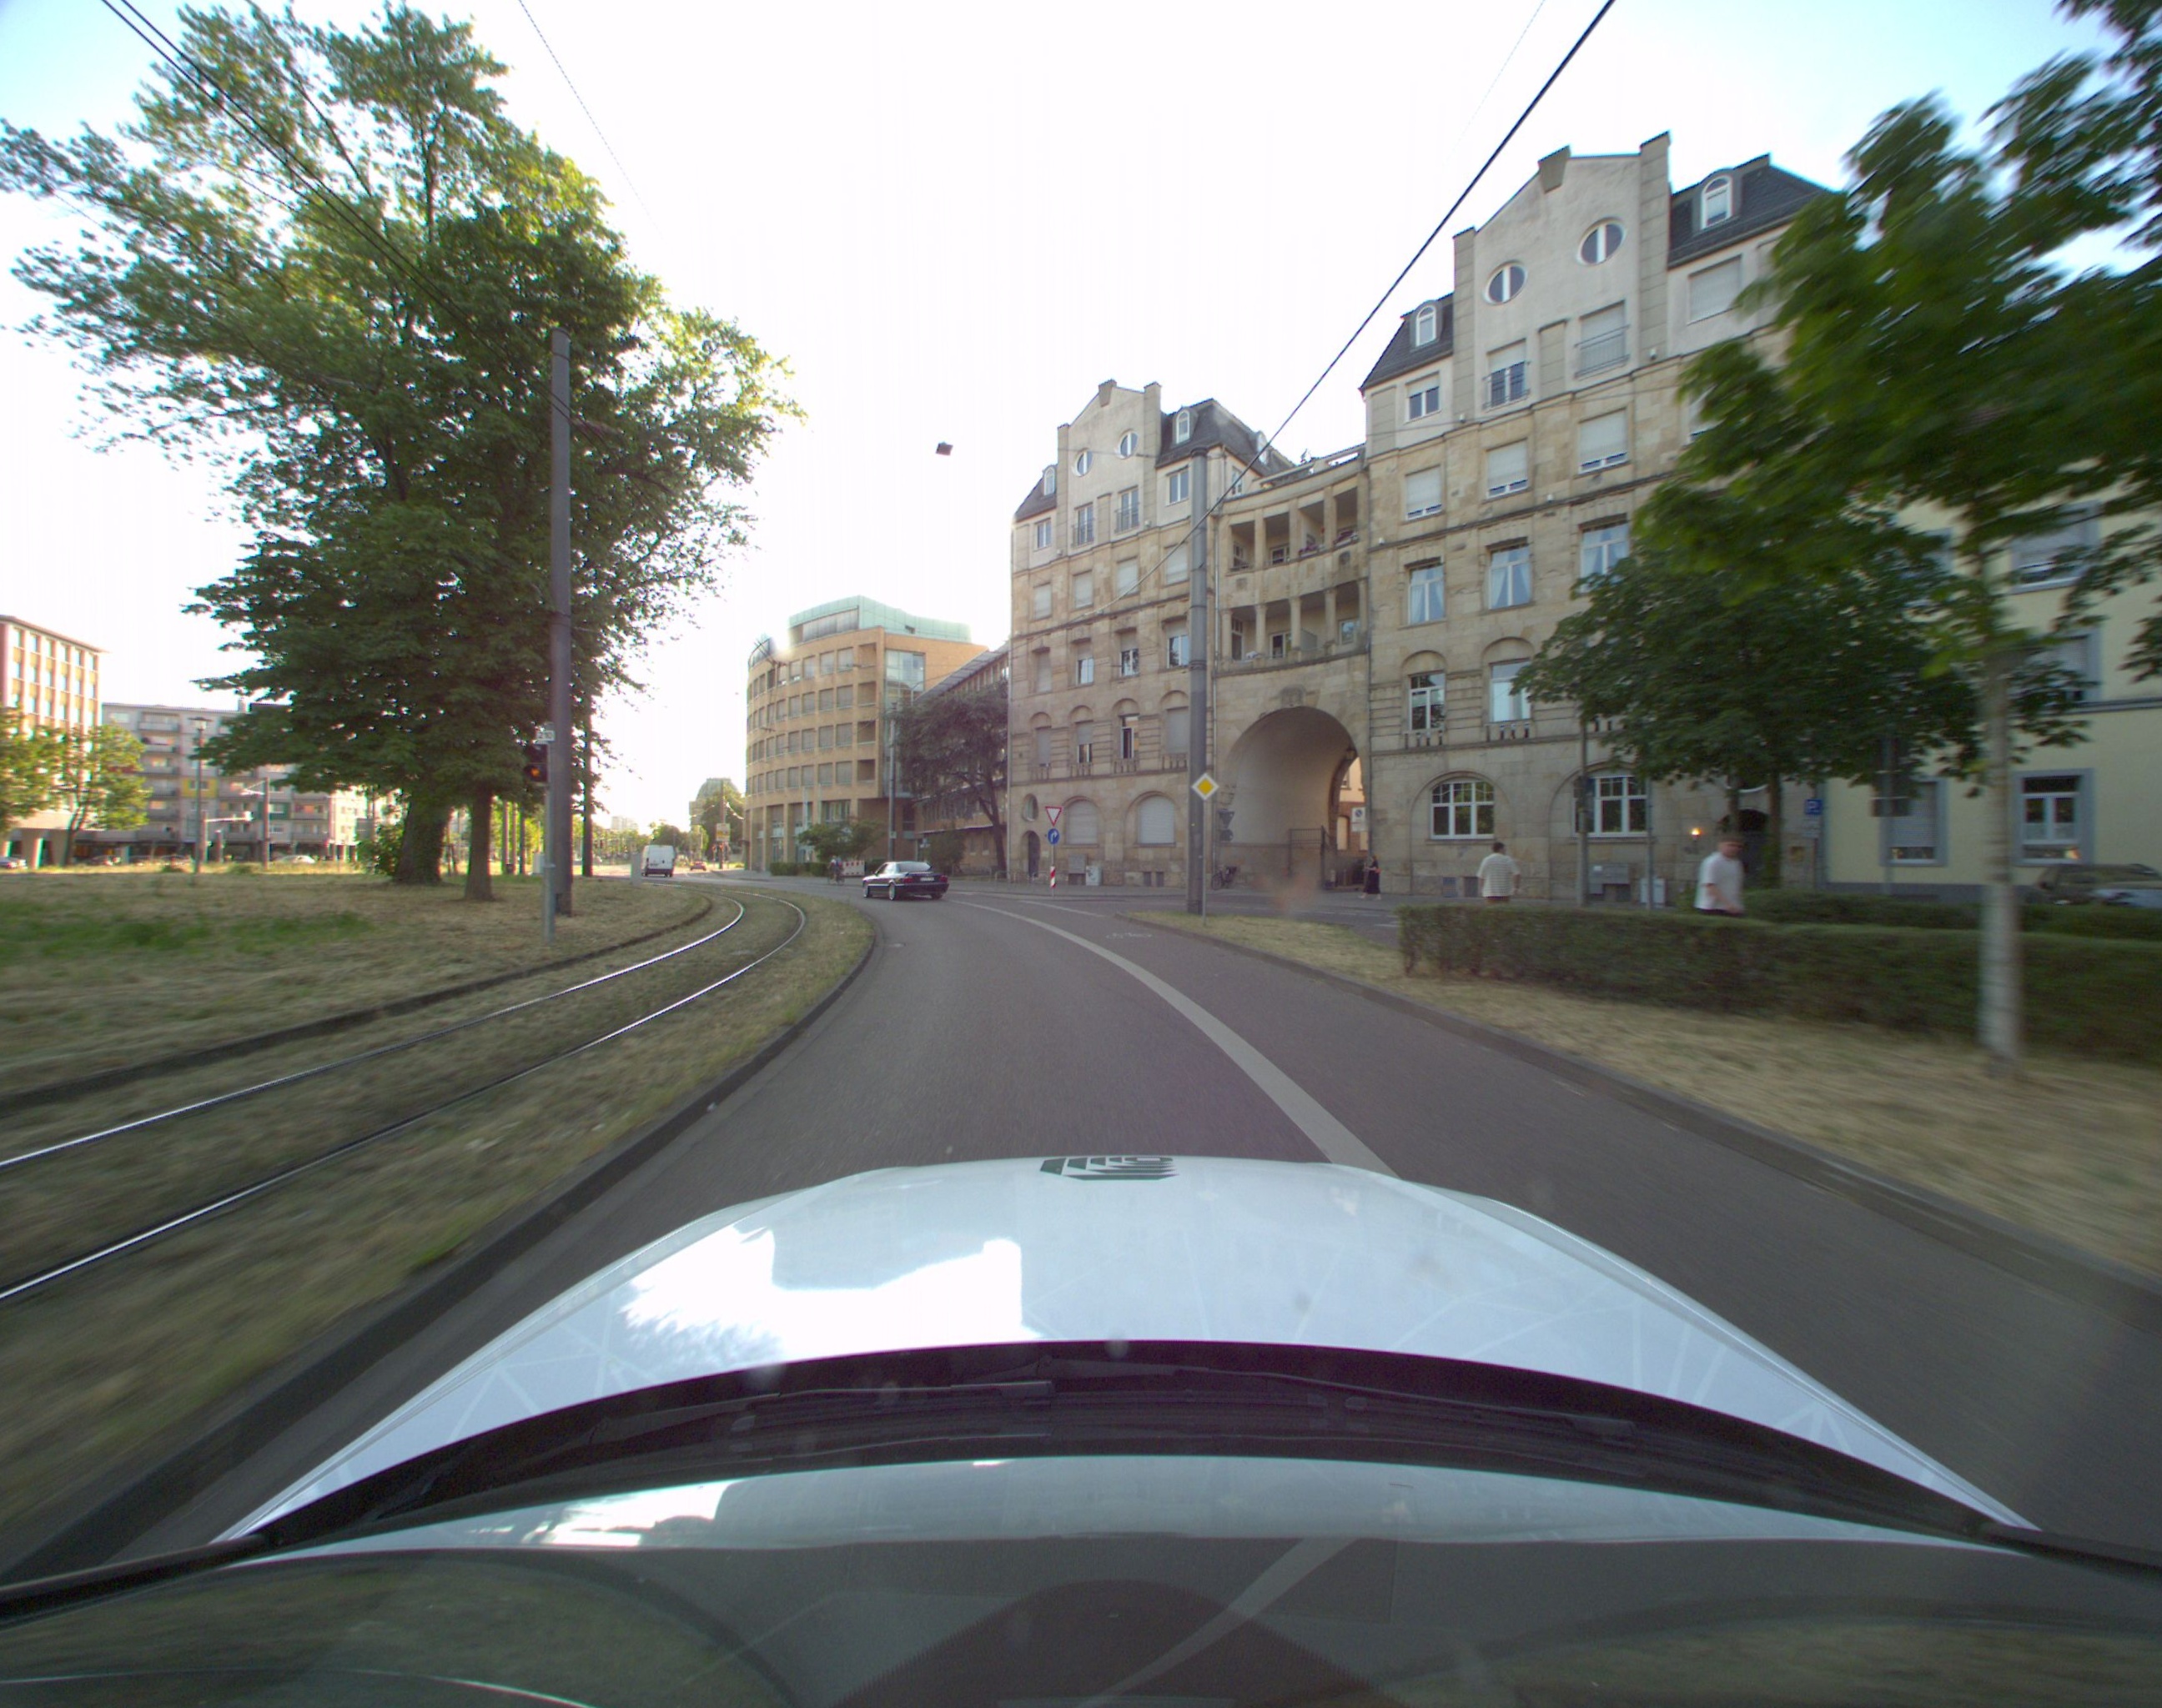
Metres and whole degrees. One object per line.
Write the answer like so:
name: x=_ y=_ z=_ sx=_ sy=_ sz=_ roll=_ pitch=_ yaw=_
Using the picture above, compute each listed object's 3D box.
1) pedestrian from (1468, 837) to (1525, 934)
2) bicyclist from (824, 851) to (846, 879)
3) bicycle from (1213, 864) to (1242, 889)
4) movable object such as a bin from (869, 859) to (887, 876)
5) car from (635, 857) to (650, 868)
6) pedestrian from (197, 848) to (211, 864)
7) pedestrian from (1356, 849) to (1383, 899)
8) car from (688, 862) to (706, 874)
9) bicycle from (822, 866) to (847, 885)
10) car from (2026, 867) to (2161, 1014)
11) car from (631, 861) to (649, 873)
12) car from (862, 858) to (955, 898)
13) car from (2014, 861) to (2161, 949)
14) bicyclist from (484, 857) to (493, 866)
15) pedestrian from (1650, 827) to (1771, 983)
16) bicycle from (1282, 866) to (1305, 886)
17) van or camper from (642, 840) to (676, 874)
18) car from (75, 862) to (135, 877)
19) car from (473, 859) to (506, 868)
pedestrian: x=7.917 y=0.576 z=15.530 sx=0.811 sy=1.792 sz=0.596 roll=1 pitch=0 yaw=45
bicyclist: x=-13.183 y=0.584 z=43.688 sx=1.025 sy=1.484 sz=0.661 roll=0 pitch=-3 yaw=44
bicycle: x=6.630 y=1.006 z=36.815 sx=0.424 sy=1.073 sz=1.867 roll=1 pitch=1 yaw=40
movable object such as a bin: x=-17.744 y=1.163 z=71.179 sx=1.350 sy=1.424 sz=0.914 roll=0 pitch=1 yaw=-34
car: x=-64.960 y=1.213 z=120.518 sx=1.806 sy=1.566 sz=3.961 roll=0 pitch=1 yaw=-31
pedestrian: x=-94.229 y=0.231 z=87.516 sx=0.742 sy=1.669 sz=0.777 roll=0 pitch=0 yaw=-24
pedestrian: x=10.199 y=0.692 z=28.799 sx=0.581 sy=1.709 sz=0.712 roll=0 pitch=0 yaw=-45
car: x=-46.489 y=1.677 z=98.607 sx=1.793 sy=1.354 sz=4.229 roll=2 pitch=0 yaw=-27
bicycle: x=-13.282 y=1.149 z=43.847 sx=0.519 sy=0.955 sz=1.754 roll=3 pitch=-1 yaw=-43
car: x=13.569 y=0.980 z=10.146 sx=4.084 sy=1.556 sz=1.846 roll=0 pitch=1 yaw=-34
car: x=-54.392 y=1.573 z=100.461 sx=1.746 sy=1.386 sz=3.966 roll=0 pitch=1 yaw=-26
car: x=-6.453 y=0.922 z=30.046 sx=1.842 sy=1.354 sz=4.593 roll=2 pitch=-3 yaw=-33
car: x=21.200 y=0.956 z=16.990 sx=1.814 sy=1.558 sz=4.426 roll=1 pitch=1 yaw=43
bicyclist: x=-95.600 y=1.231 z=131.399 sx=0.655 sy=1.442 sz=0.861 roll=2 pitch=-1 yaw=34
pedestrian: x=7.229 y=0.559 z=9.386 sx=0.766 sy=1.715 sz=0.784 roll=0 pitch=0 yaw=-6
bicycle: x=10.794 y=1.129 z=41.321 sx=0.476 sy=0.955 sz=1.522 roll=1 pitch=1 yaw=40
van or camper: x=-34.192 y=0.202 z=66.070 sx=2.275 sy=2.625 sz=4.465 roll=0 pitch=1 yaw=-26
car: x=-107.965 y=1.734 z=90.163 sx=3.891 sy=1.585 sz=1.785 roll=0 pitch=1 yaw=-32
car: x=-96.448 y=1.540 z=132.800 sx=1.696 sy=1.434 sz=4.025 roll=2 pitch=0 yaw=39
